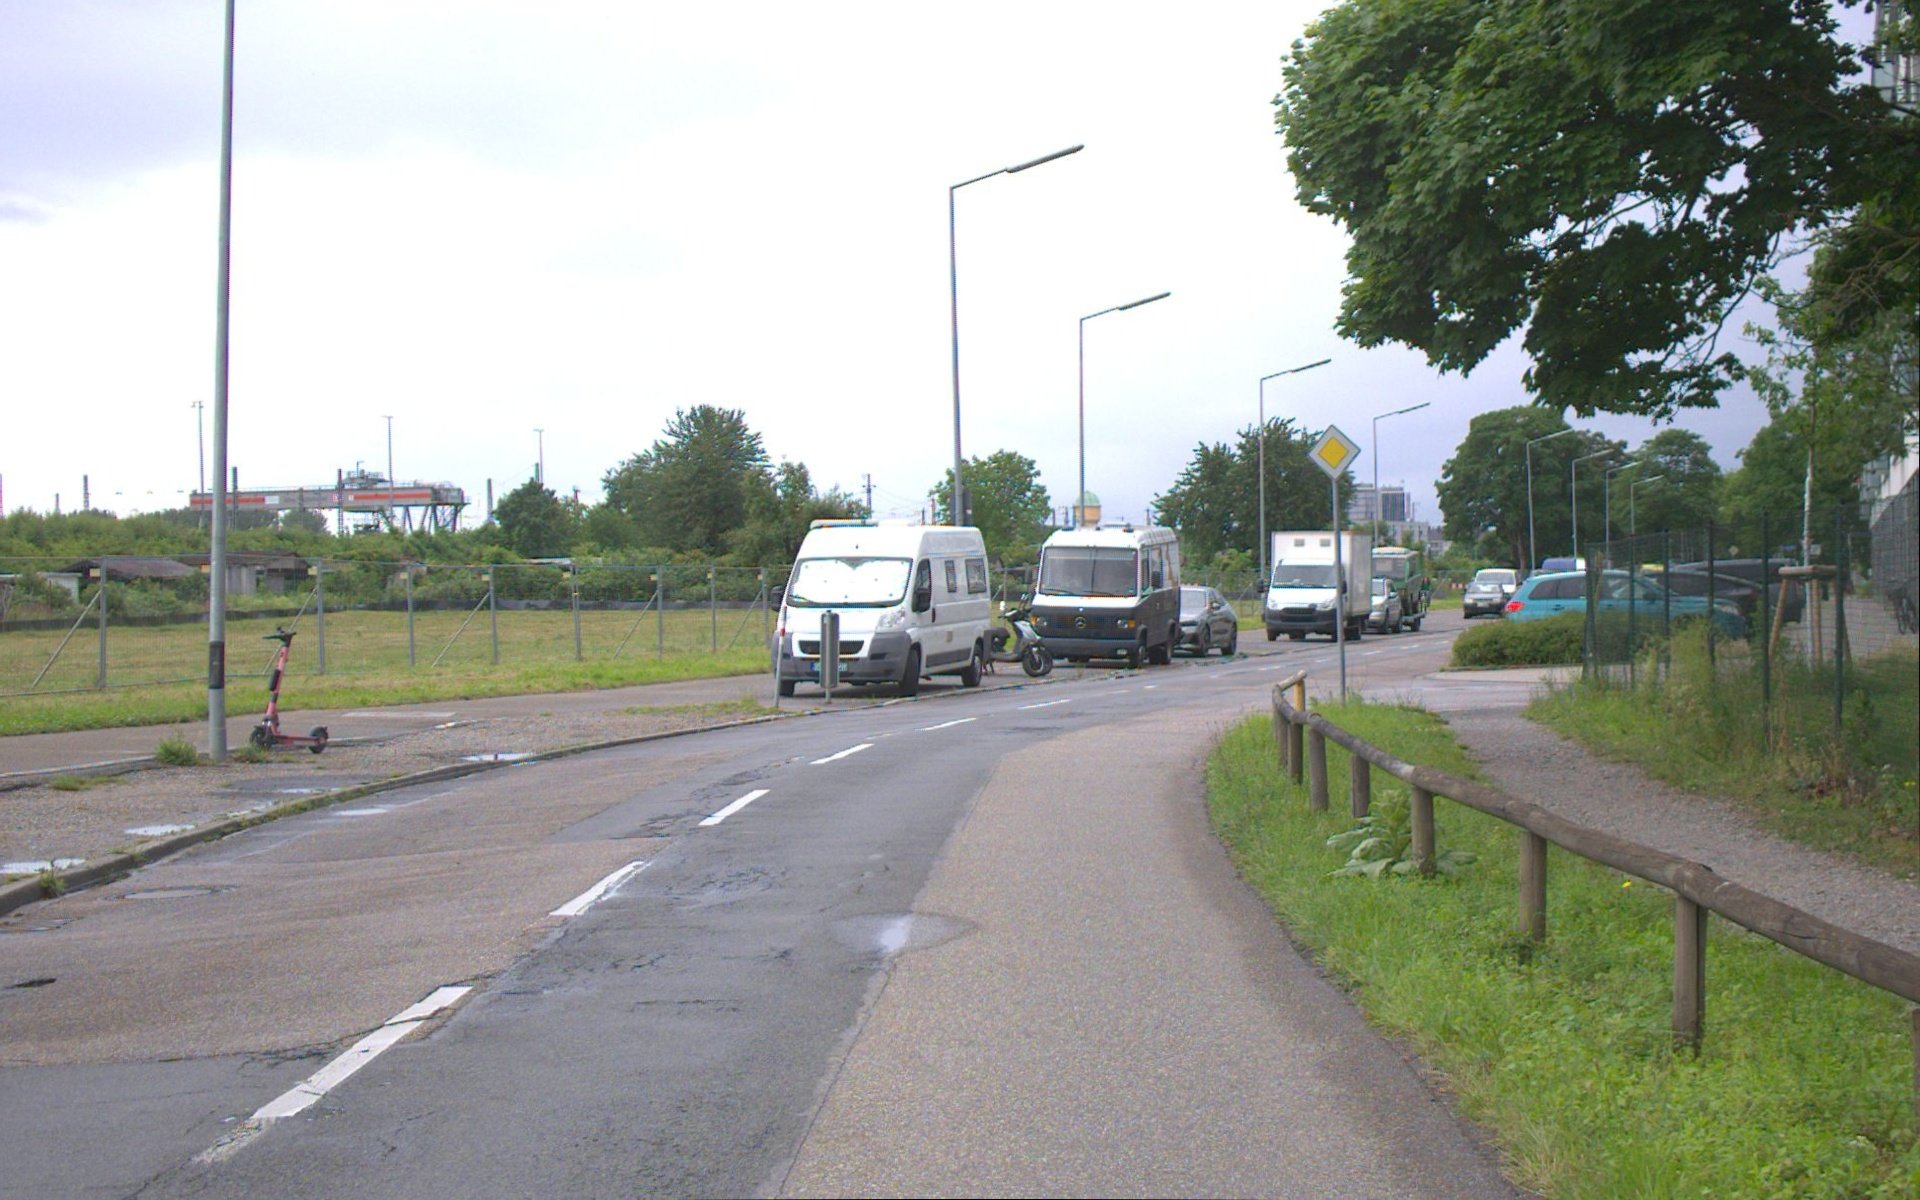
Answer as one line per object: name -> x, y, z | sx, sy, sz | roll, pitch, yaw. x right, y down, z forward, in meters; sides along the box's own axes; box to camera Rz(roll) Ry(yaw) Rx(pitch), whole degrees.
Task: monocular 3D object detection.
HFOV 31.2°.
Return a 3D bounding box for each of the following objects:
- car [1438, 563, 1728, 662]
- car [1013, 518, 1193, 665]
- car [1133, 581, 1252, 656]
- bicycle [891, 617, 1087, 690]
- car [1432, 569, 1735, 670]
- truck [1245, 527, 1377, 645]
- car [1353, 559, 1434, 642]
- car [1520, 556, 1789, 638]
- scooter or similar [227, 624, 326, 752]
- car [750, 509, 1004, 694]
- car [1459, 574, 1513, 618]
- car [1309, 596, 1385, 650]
car -> 10.865, 0.213, 59.855 | 4.864, 1.657, 1.841 | 0, 1, 14
car -> 2.865, -0.220, 67.214 | 2.302, 2.725, 6.088 | 0, 1, 14
car -> 5.024, 0.387, 73.915 | 1.781, 1.499, 3.997 | -1, 1, 15
bicycle -> 0.508, 0.908, 58.834 | 3.122, 1.195, 1.364 | 0, 1, 14
car -> 10.402, 0.312, 57.282 | 4.864, 1.610, 1.841 | 0, 1, 14
truck -> 9.664, -0.439, 93.872 | 2.463, 3.050, 8.157 | -1, 1, 14
car -> 13.979, -0.006, 110.776 | 2.006, 2.565, 4.783 | -1, 1, 14
car -> 13.036, -0.062, 64.478 | 4.864, 1.495, 1.841 | 0, 1, 14
scooter or similar -> -6.647, 0.845, 33.493 | 0.608, 1.179, 1.702 | 1, 0, 0
car -> -1.126, -0.022, 50.922 | 2.290, 2.547, 6.407 | -1, 1, 12
car -> 21.032, -0.174, 137.313 | 1.650, 1.657, 3.573 | 0, 1, 16
car -> 11.666, 0.677, 103.433 | 1.756, 1.520, 3.998 | -1, 1, 14
